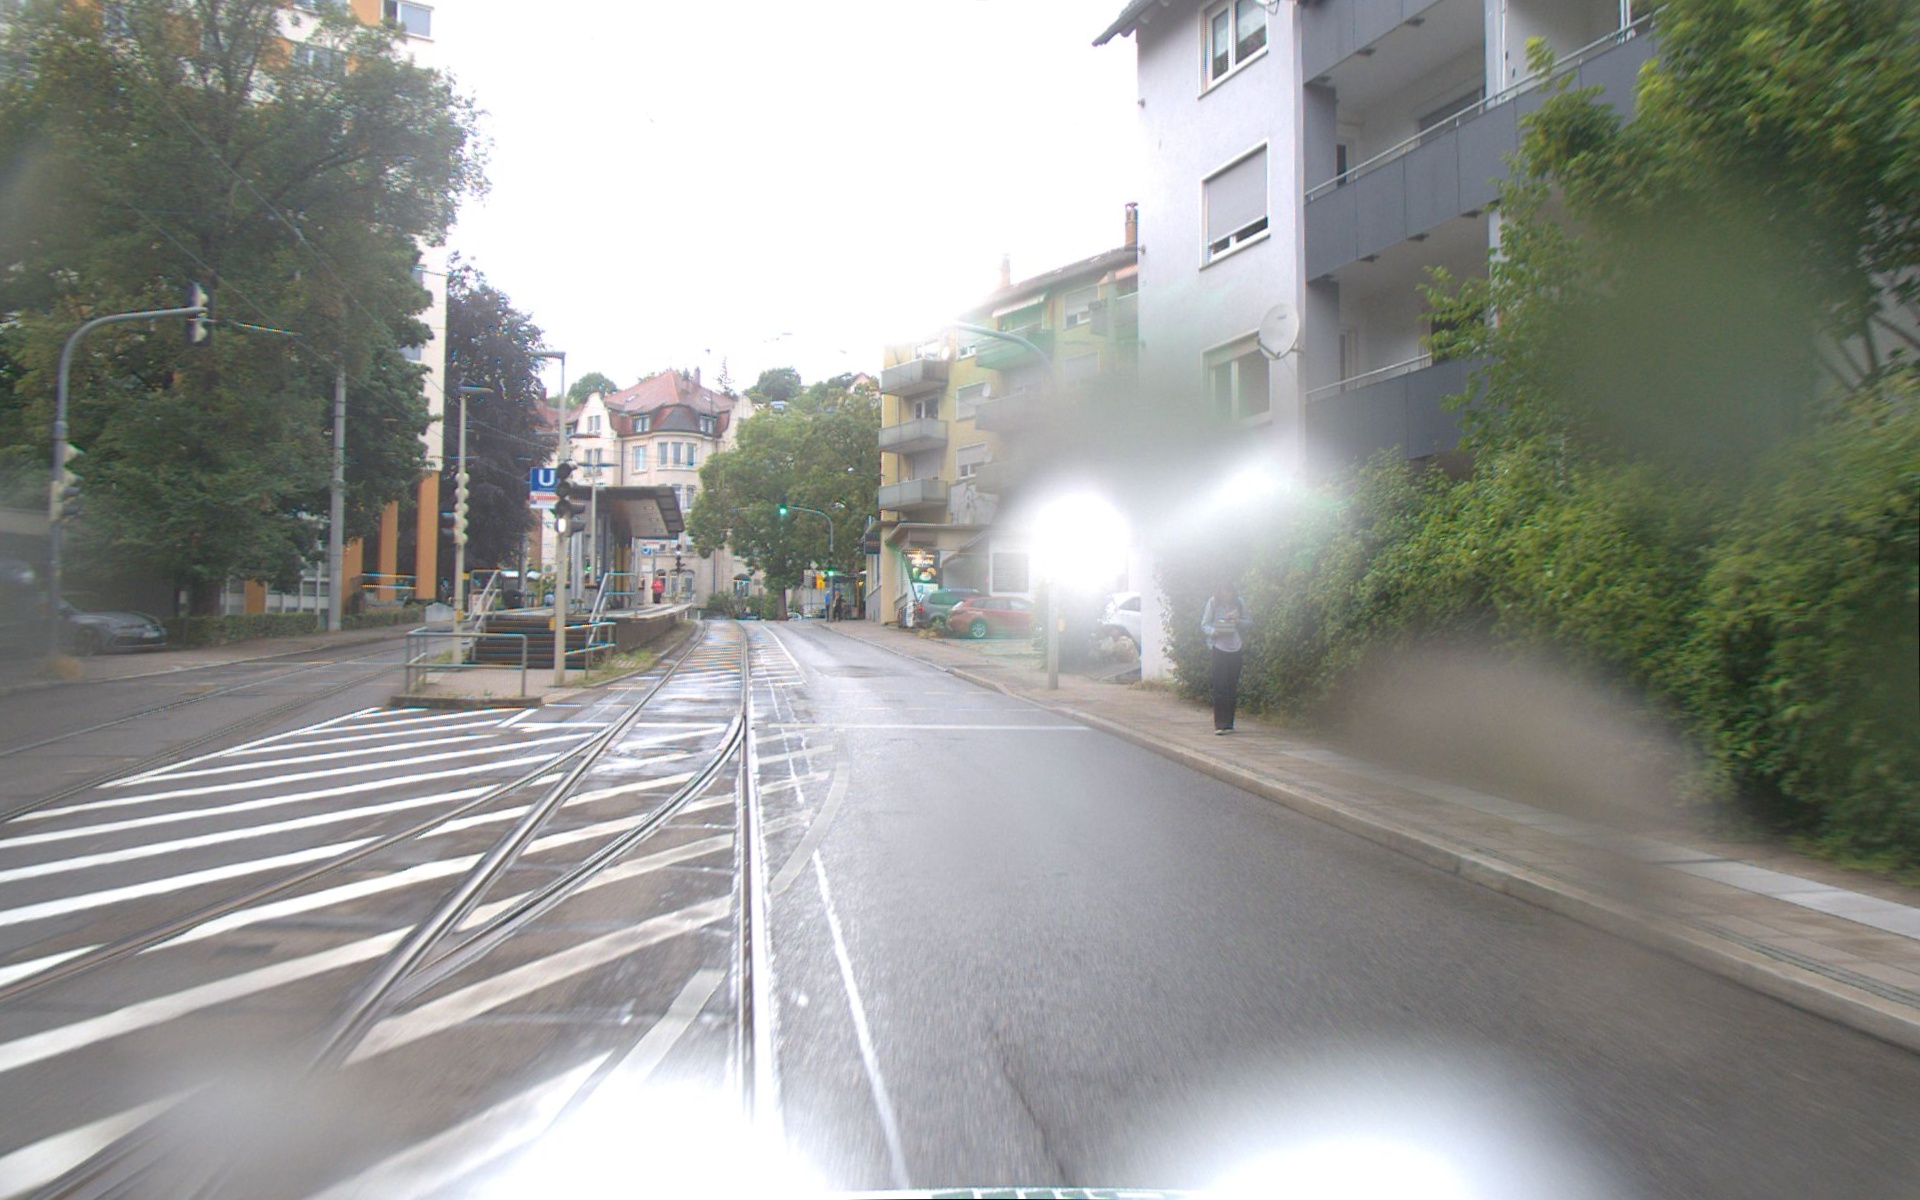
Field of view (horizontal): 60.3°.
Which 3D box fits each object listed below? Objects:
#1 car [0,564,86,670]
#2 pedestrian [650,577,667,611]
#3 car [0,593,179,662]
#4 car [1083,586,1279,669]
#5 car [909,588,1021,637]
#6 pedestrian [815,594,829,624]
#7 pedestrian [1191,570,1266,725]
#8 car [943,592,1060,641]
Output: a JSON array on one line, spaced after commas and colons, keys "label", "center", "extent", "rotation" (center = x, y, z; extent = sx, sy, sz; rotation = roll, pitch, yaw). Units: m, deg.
[{"label": "car", "center": [-17.425, 0.315, 29.290], "extent": [1.955, 1.714, 3.994], "rotation": [1, -4, -5]}, {"label": "pedestrian", "center": [-13.760, -0.287, 75.407], "extent": [0.644, 1.493, 0.771], "rotation": [1, -4, -5]}, {"label": "car", "center": [-19.772, 0.624, 37.057], "extent": [3.902, 1.431, 1.683], "rotation": [0, -4, 15]}, {"label": "car", "center": [4.810, 0.639, 36.256], "extent": [3.914, 1.675, 1.803], "rotation": [2, -3, -10]}, {"label": "car", "center": [0.167, 0.483, 61.192], "extent": [3.913, 1.675, 1.804], "rotation": [2, -3, -9]}, {"label": "pedestrian", "center": [-7.258, 0.468, 86.963], "extent": [0.568, 1.493, 0.541], "rotation": [2, -4, -16]}, {"label": "pedestrian", "center": [2.946, 0.525, 18.185], "extent": [0.632, 1.657, 0.698], "rotation": [1, -2, -7]}, {"label": "car", "center": [1.430, 0.588, 57.623], "extent": [3.771, 1.570, 1.803], "rotation": [2, -3, -10]}]
